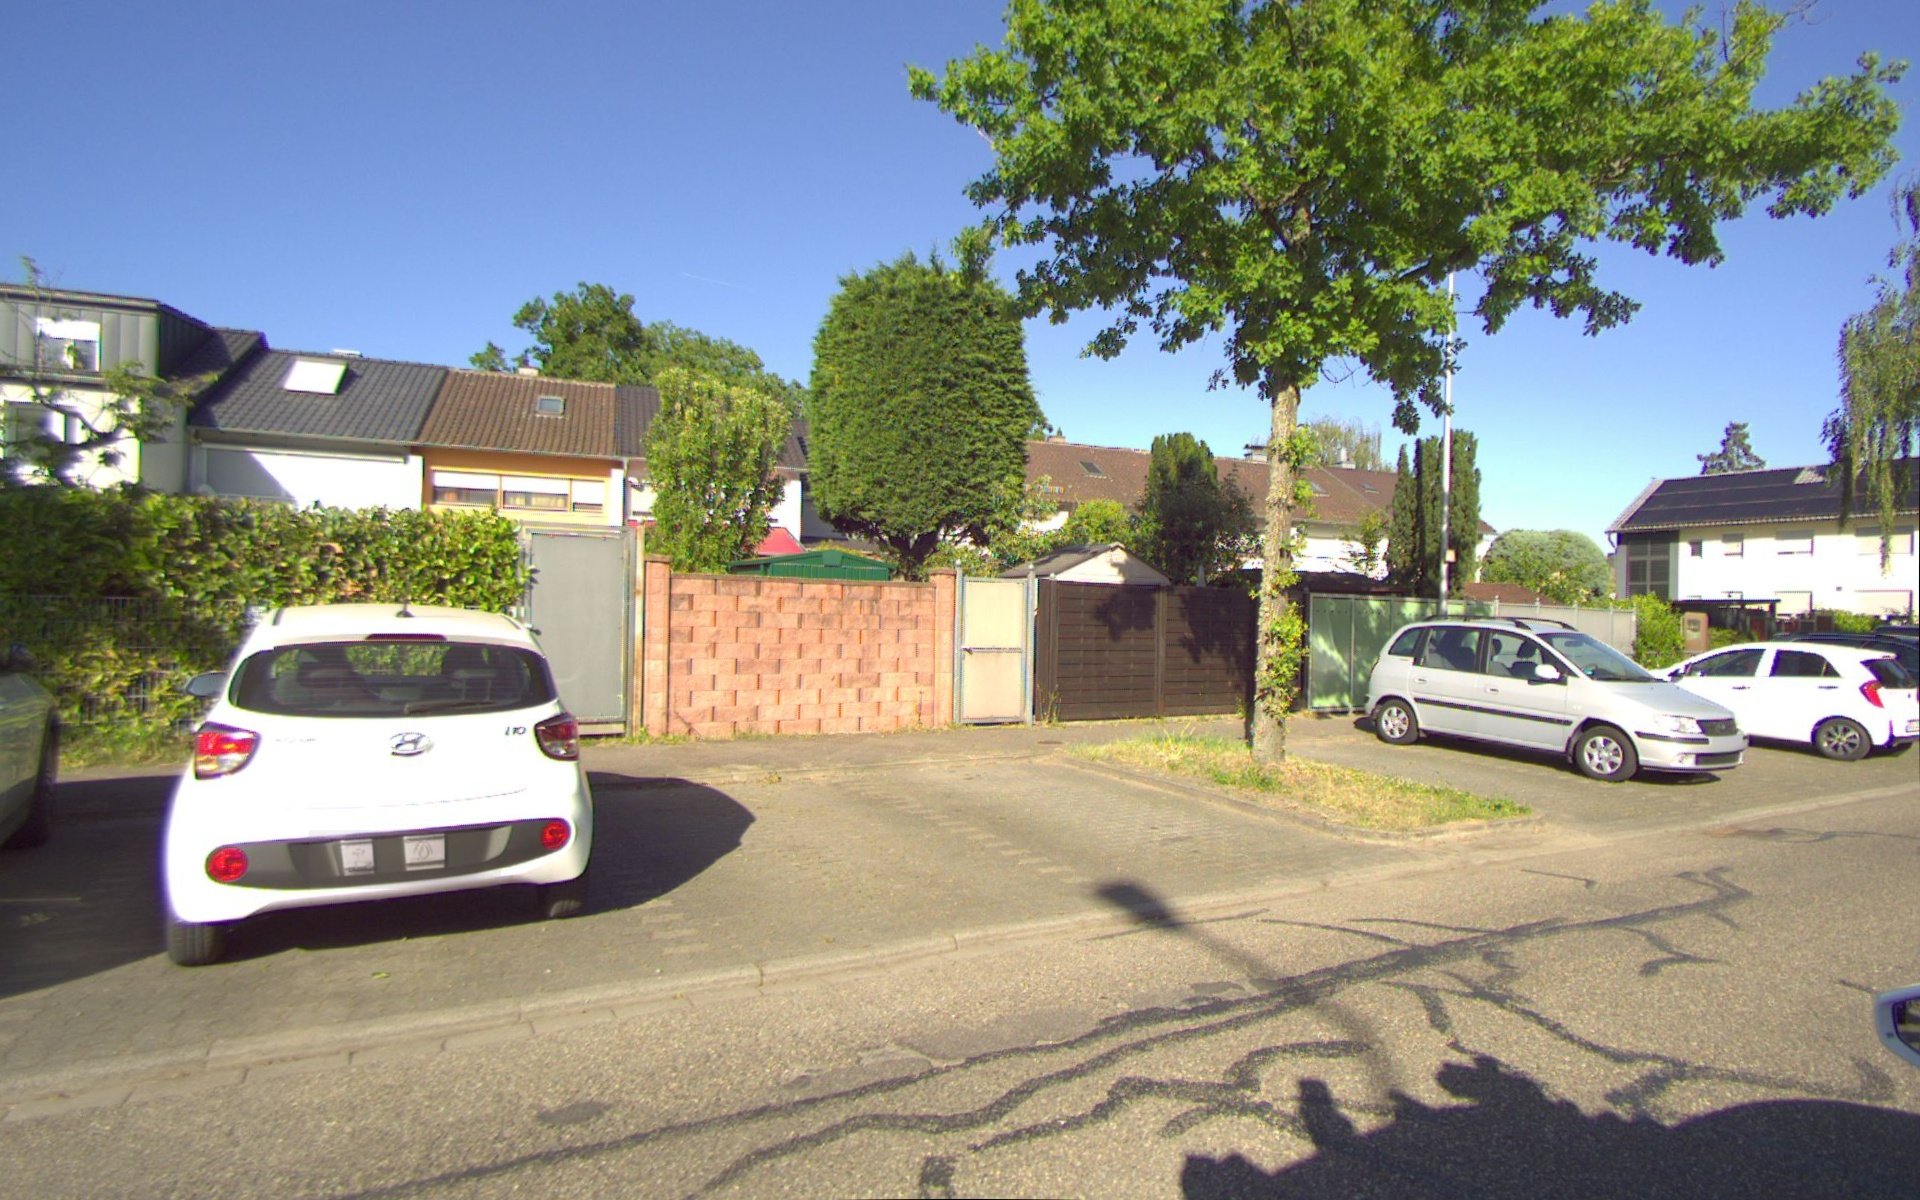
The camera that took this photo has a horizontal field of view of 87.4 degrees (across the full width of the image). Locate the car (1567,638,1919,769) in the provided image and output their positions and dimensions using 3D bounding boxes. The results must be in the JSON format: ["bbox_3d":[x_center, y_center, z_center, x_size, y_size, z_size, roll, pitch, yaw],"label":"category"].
[{"bbox_3d":[11.450,1.391,14.766,1.774,1.535,3.984,2,-1,-29],"label":"car"}]

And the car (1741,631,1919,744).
[{"bbox_3d":[15.828,1.448,16.682,1.739,1.747,4.191,2,-1,-29],"label":"car"}]

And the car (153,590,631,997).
[{"bbox_3d":[-3.195,0.748,5.706,1.690,1.515,3.494,3,-1,-32],"label":"car"}]

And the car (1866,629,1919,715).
[{"bbox_3d":[22.119,1.613,20.808,1.775,1.792,4.648,1,0,-32],"label":"car"}]

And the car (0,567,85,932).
[{"bbox_3d":[-5.323,0.602,4.371,1.904,1.595,3.924,3,-1,-36],"label":"car"}]

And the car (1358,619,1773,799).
[{"bbox_3d":[6.956,1.121,11.997,1.685,1.635,3.922,1,0,-29],"label":"car"}]

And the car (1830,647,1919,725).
[{"bbox_3d":[19.683,1.740,19.224,1.703,1.443,4.253,2,0,-29],"label":"car"}]
